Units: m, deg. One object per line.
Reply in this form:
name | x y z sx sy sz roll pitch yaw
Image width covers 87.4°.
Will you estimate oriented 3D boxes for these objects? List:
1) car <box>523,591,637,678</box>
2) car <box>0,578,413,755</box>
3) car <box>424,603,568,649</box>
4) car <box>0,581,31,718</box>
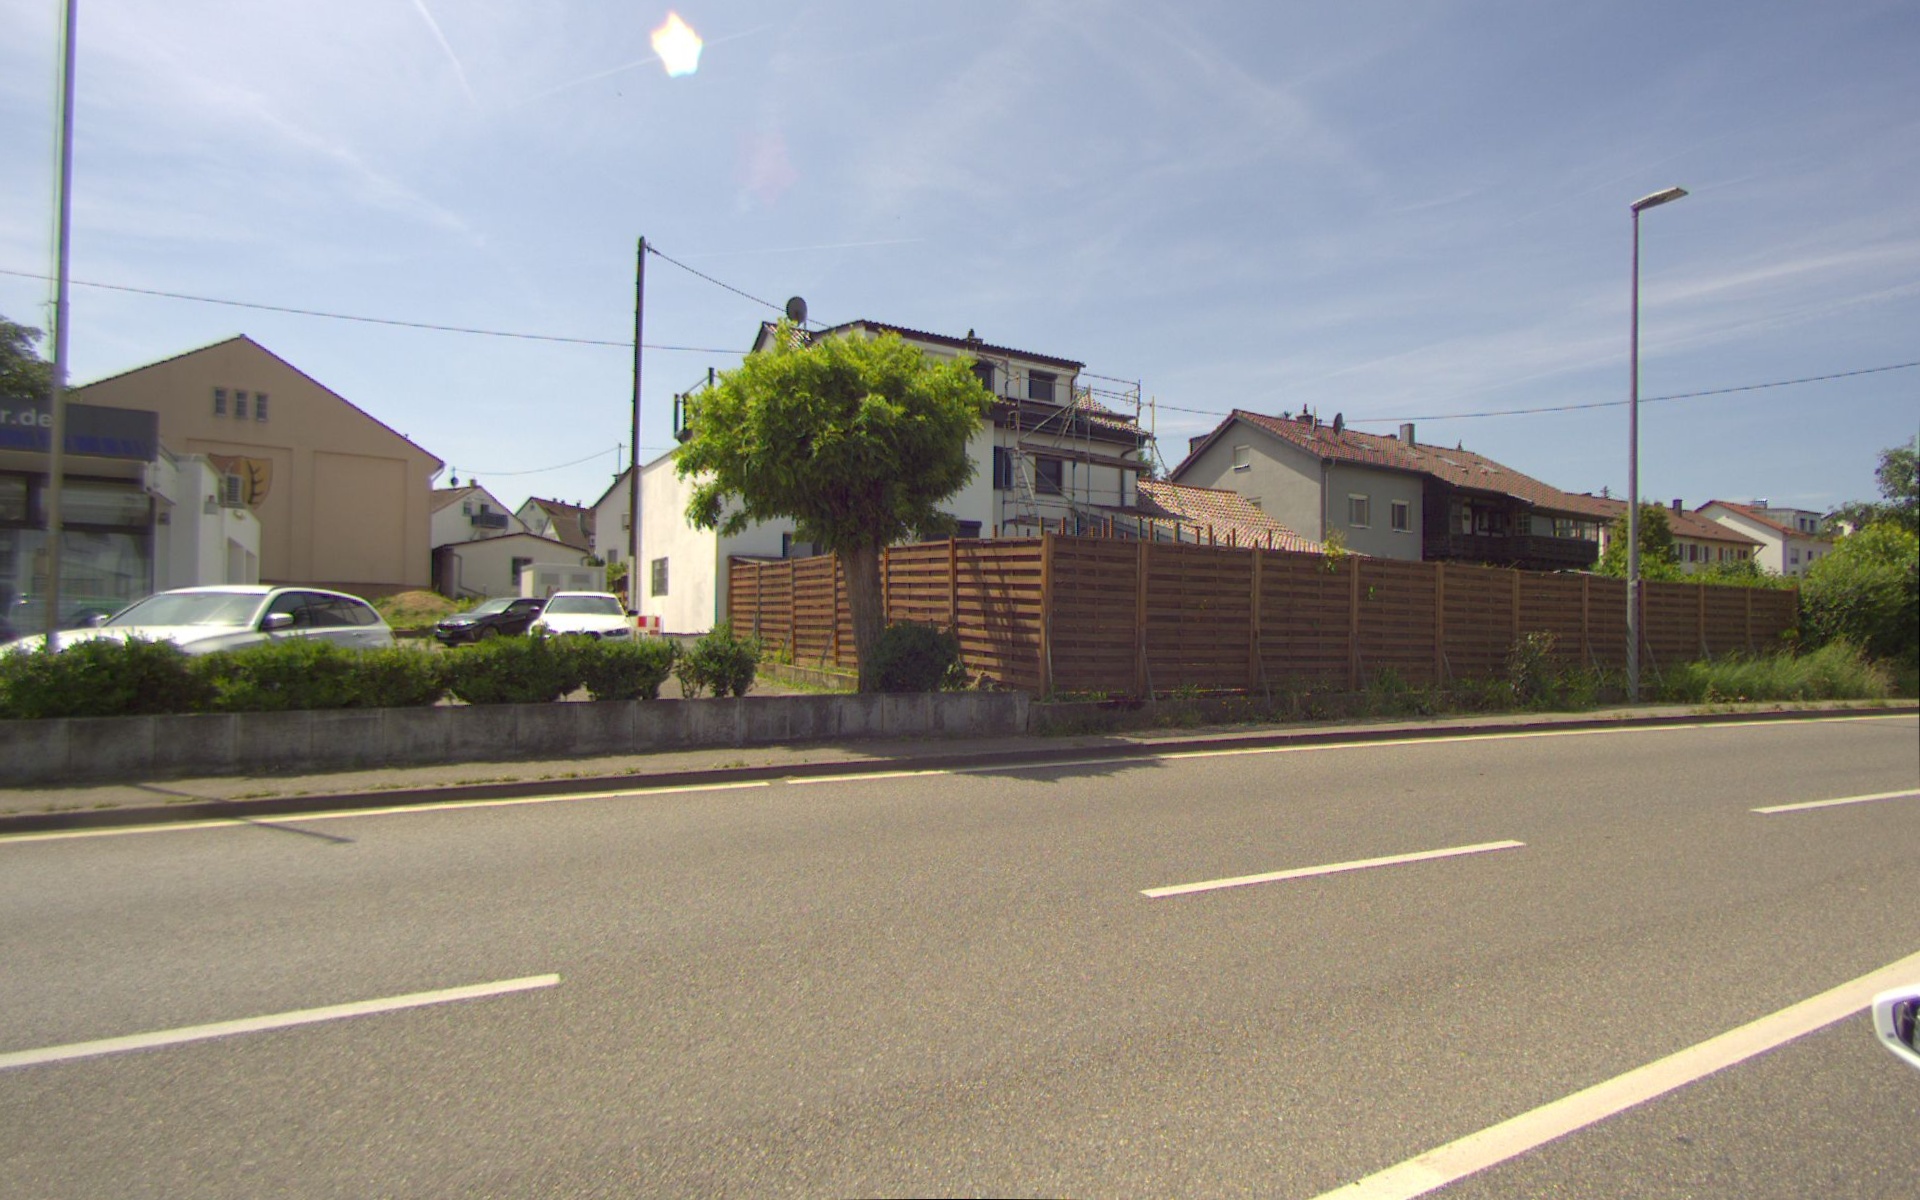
car | -7.380 0.606 19.839 1.805 1.530 3.985 1 0 -17
car | -7.835 0.575 10.764 1.822 1.467 4.339 2 0 -5
car | -14.368 0.756 31.346 1.756 1.238 3.999 2 1 21
car | -11.056 0.500 8.875 1.863 1.467 4.339 2 0 -5
